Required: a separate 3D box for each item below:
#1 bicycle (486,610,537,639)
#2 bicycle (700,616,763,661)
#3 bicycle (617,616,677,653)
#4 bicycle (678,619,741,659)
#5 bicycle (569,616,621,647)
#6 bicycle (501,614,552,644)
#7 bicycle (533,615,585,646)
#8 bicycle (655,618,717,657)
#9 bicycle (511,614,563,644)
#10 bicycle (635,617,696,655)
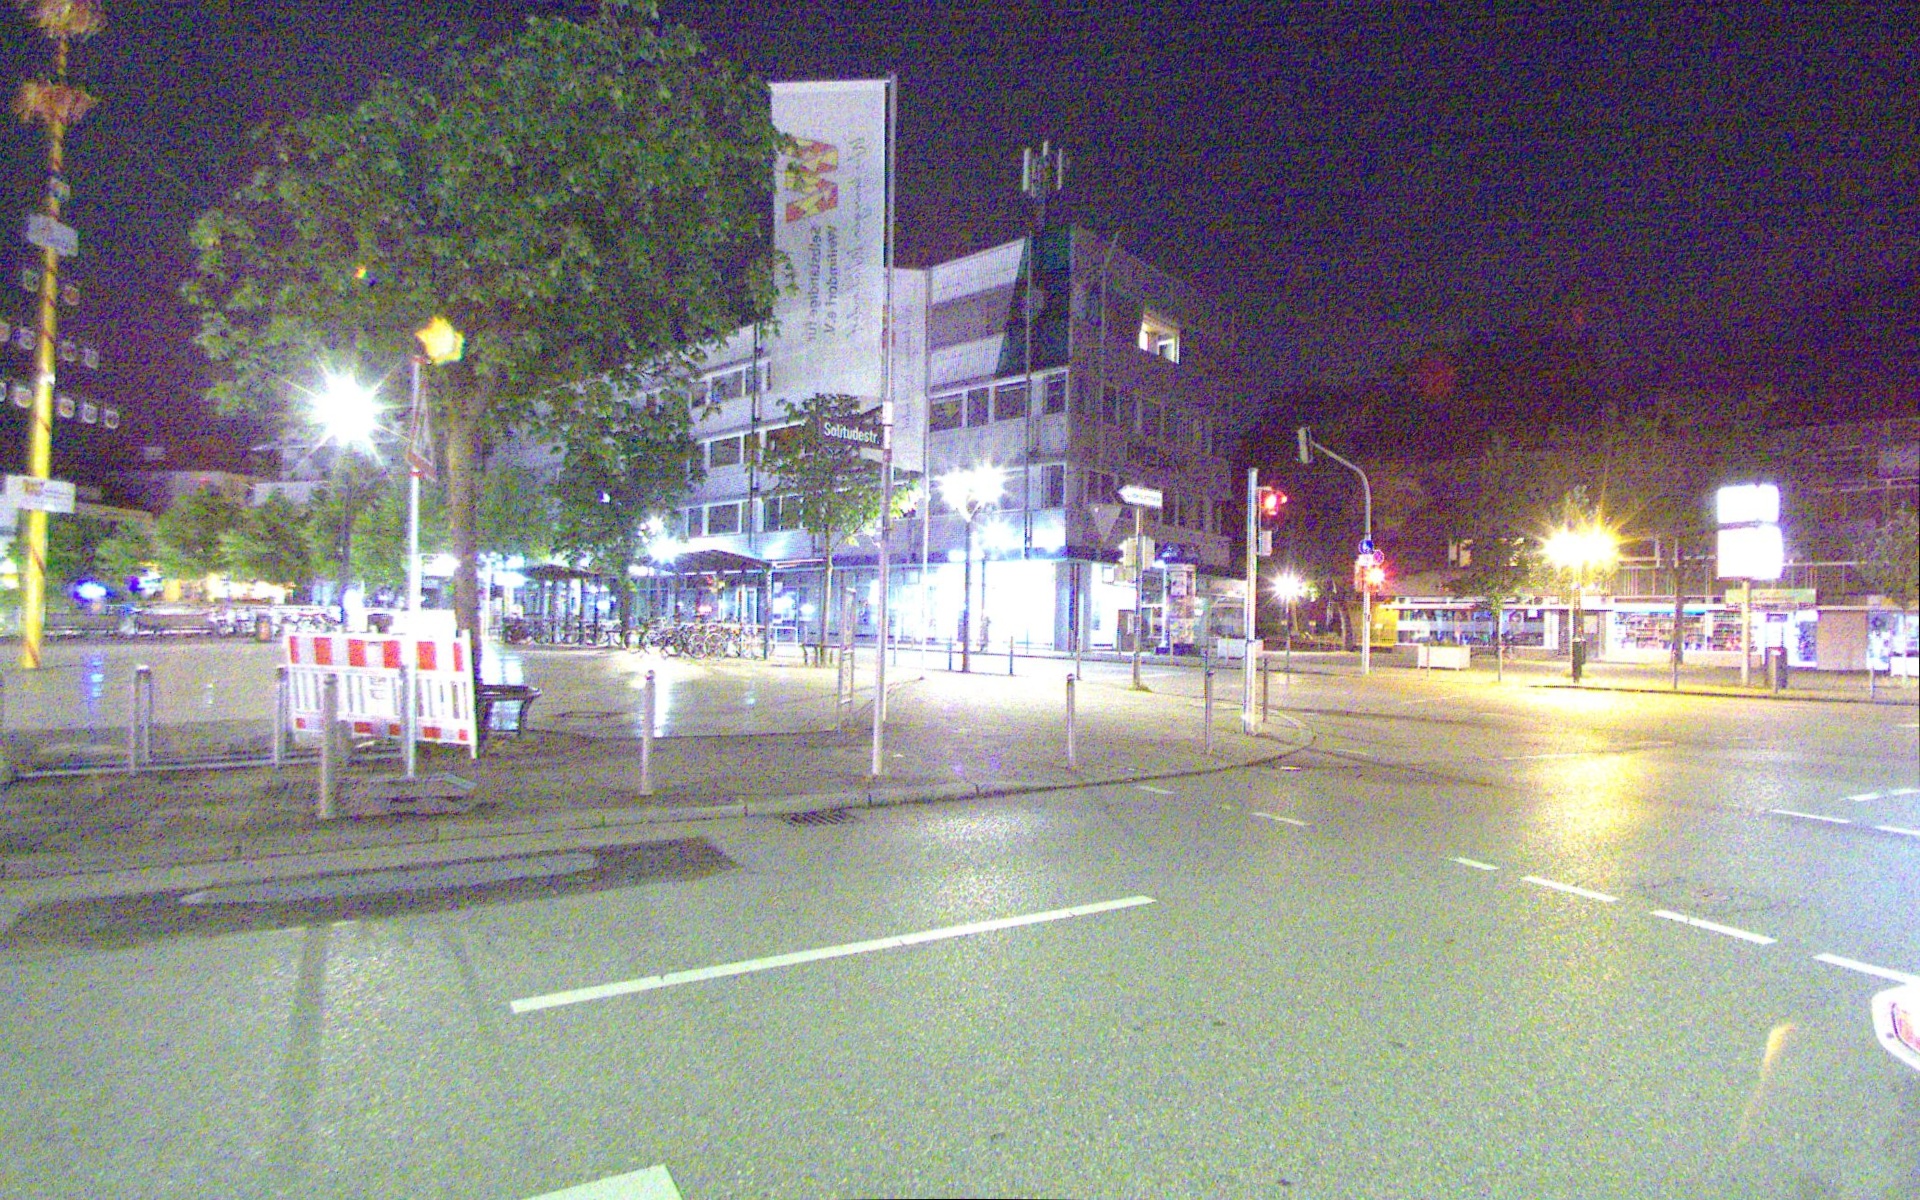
[{"bbox_3d":[-15.557,0.858,34.877,0.473,0.970,1.525,2,0,44],"label":"bicycle"},{"bbox_3d":[-5.657,0.948,24.919,0.440,1.068,1.525,2,0,43],"label":"bicycle"},{"bbox_3d":[-8.537,0.941,27.417,0.473,0.970,1.525,2,0,44],"label":"bicycle"},{"bbox_3d":[-6.362,0.988,25.570,0.440,0.970,1.525,2,0,43],"label":"bicycle"},{"bbox_3d":[-12.015,1.035,33.098,0.473,0.970,1.525,2,0,44],"label":"bicycle"},{"bbox_3d":[-14.832,0.995,34.386,0.473,0.970,1.525,2,0,44],"label":"bicycle"},{"bbox_3d":[-13.183,0.999,33.064,0.473,0.970,1.525,2,0,44],"label":"bicycle"},{"bbox_3d":[-7.114,0.981,26.136,0.473,0.970,1.525,2,0,44],"label":"bicycle"},{"bbox_3d":[-14.191,0.987,33.732,0.473,0.970,1.525,2,0,44],"label":"bicycle"},{"bbox_3d":[-7.857,0.959,26.817,0.473,0.970,1.525,2,0,44],"label":"bicycle"}]
